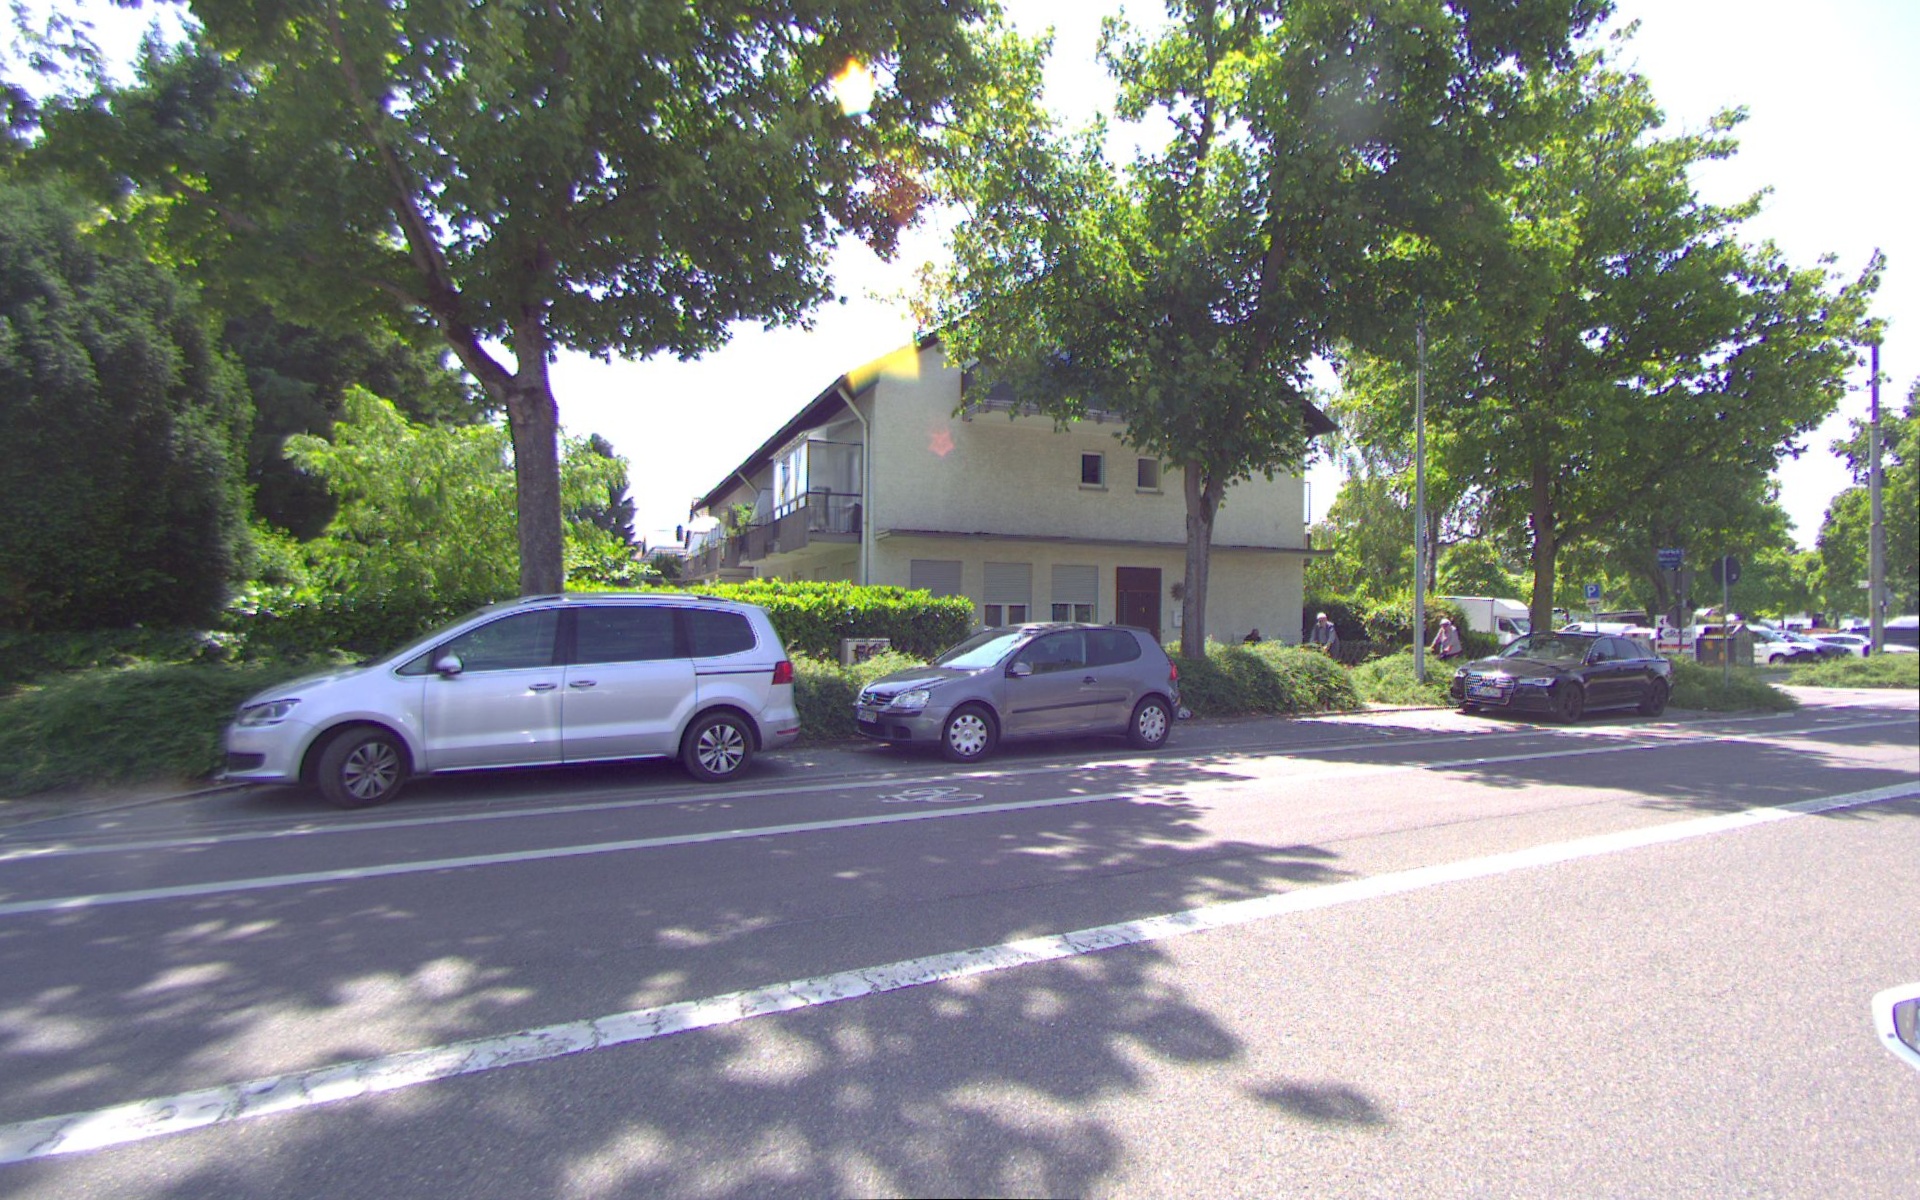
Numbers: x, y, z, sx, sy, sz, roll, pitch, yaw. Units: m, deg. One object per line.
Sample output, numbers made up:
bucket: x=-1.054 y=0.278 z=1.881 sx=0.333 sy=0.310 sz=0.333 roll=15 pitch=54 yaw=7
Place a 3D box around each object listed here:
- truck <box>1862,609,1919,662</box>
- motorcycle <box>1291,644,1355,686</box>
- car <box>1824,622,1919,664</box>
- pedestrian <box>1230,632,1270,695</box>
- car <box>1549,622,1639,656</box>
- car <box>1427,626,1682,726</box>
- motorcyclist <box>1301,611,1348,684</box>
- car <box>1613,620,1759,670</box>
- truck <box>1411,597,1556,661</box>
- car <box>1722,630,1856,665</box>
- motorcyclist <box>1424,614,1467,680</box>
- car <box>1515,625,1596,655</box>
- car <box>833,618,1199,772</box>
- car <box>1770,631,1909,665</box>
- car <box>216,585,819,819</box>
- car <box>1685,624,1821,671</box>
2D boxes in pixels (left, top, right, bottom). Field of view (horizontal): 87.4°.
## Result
truck: x=52.039 y=1.887 z=53.463 sx=2.402 sy=2.796 sz=5.556 roll=1 pitch=-1 yaw=-28
motorcycle: x=7.894 y=1.402 z=21.845 sx=1.354 sy=0.837 sz=0.523 roll=1 pitch=2 yaw=-29
car: x=45.562 y=2.085 z=49.491 sx=1.835 sy=2.021 sz=4.189 roll=1 pitch=-1 yaw=-30
pedestrian: x=7.259 y=1.571 z=25.178 sx=0.599 sy=1.530 sz=0.792 roll=1 pitch=-1 yaw=-23
car: x=37.475 y=2.281 z=59.467 sx=1.948 sy=1.845 sz=4.108 roll=2 pitch=-1 yaw=-30
car: x=10.428 y=1.235 z=17.522 sx=4.757 sy=1.476 sz=1.883 roll=1 pitch=0 yaw=-33
motorcyclist: x=7.936 y=1.022 z=21.852 sx=0.716 sy=1.523 sz=0.584 roll=1 pitch=2 yaw=-29
car: x=29.456 y=1.783 z=40.870 sx=2.040 sy=1.881 sz=4.421 roll=1 pitch=-1 yaw=-34
truck: x=28.518 y=1.494 z=55.059 sx=2.126 sy=3.270 sz=6.942 roll=1 pitch=0 yaw=-31
car: x=36.422 y=2.045 z=44.230 sx=2.059 sy=1.422 sz=4.171 roll=1 pitch=-1 yaw=-33
motorcyclist: x=11.483 y=1.099 z=23.772 sx=0.654 sy=1.523 sz=0.584 roll=1 pitch=2 yaw=-29
car: x=34.938 y=2.328 z=59.014 sx=1.712 sy=1.597 sz=3.729 roll=1 pitch=-1 yaw=-30
car: x=0.721 y=1.005 z=11.856 sx=4.080 sy=1.506 sz=1.668 roll=1 pitch=0 yaw=-31
car: x=42.635 y=2.272 z=48.812 sx=2.034 sy=1.508 sz=4.738 roll=1 pitch=-1 yaw=-30
car: x=-3.840 y=0.780 z=9.306 sx=4.630 sy=1.711 sz=1.962 roll=1 pitch=0 yaw=-29
car: x=33.667 y=1.964 z=42.773 sx=1.651 sy=1.860 sz=4.251 roll=1 pitch=-1 yaw=-27
